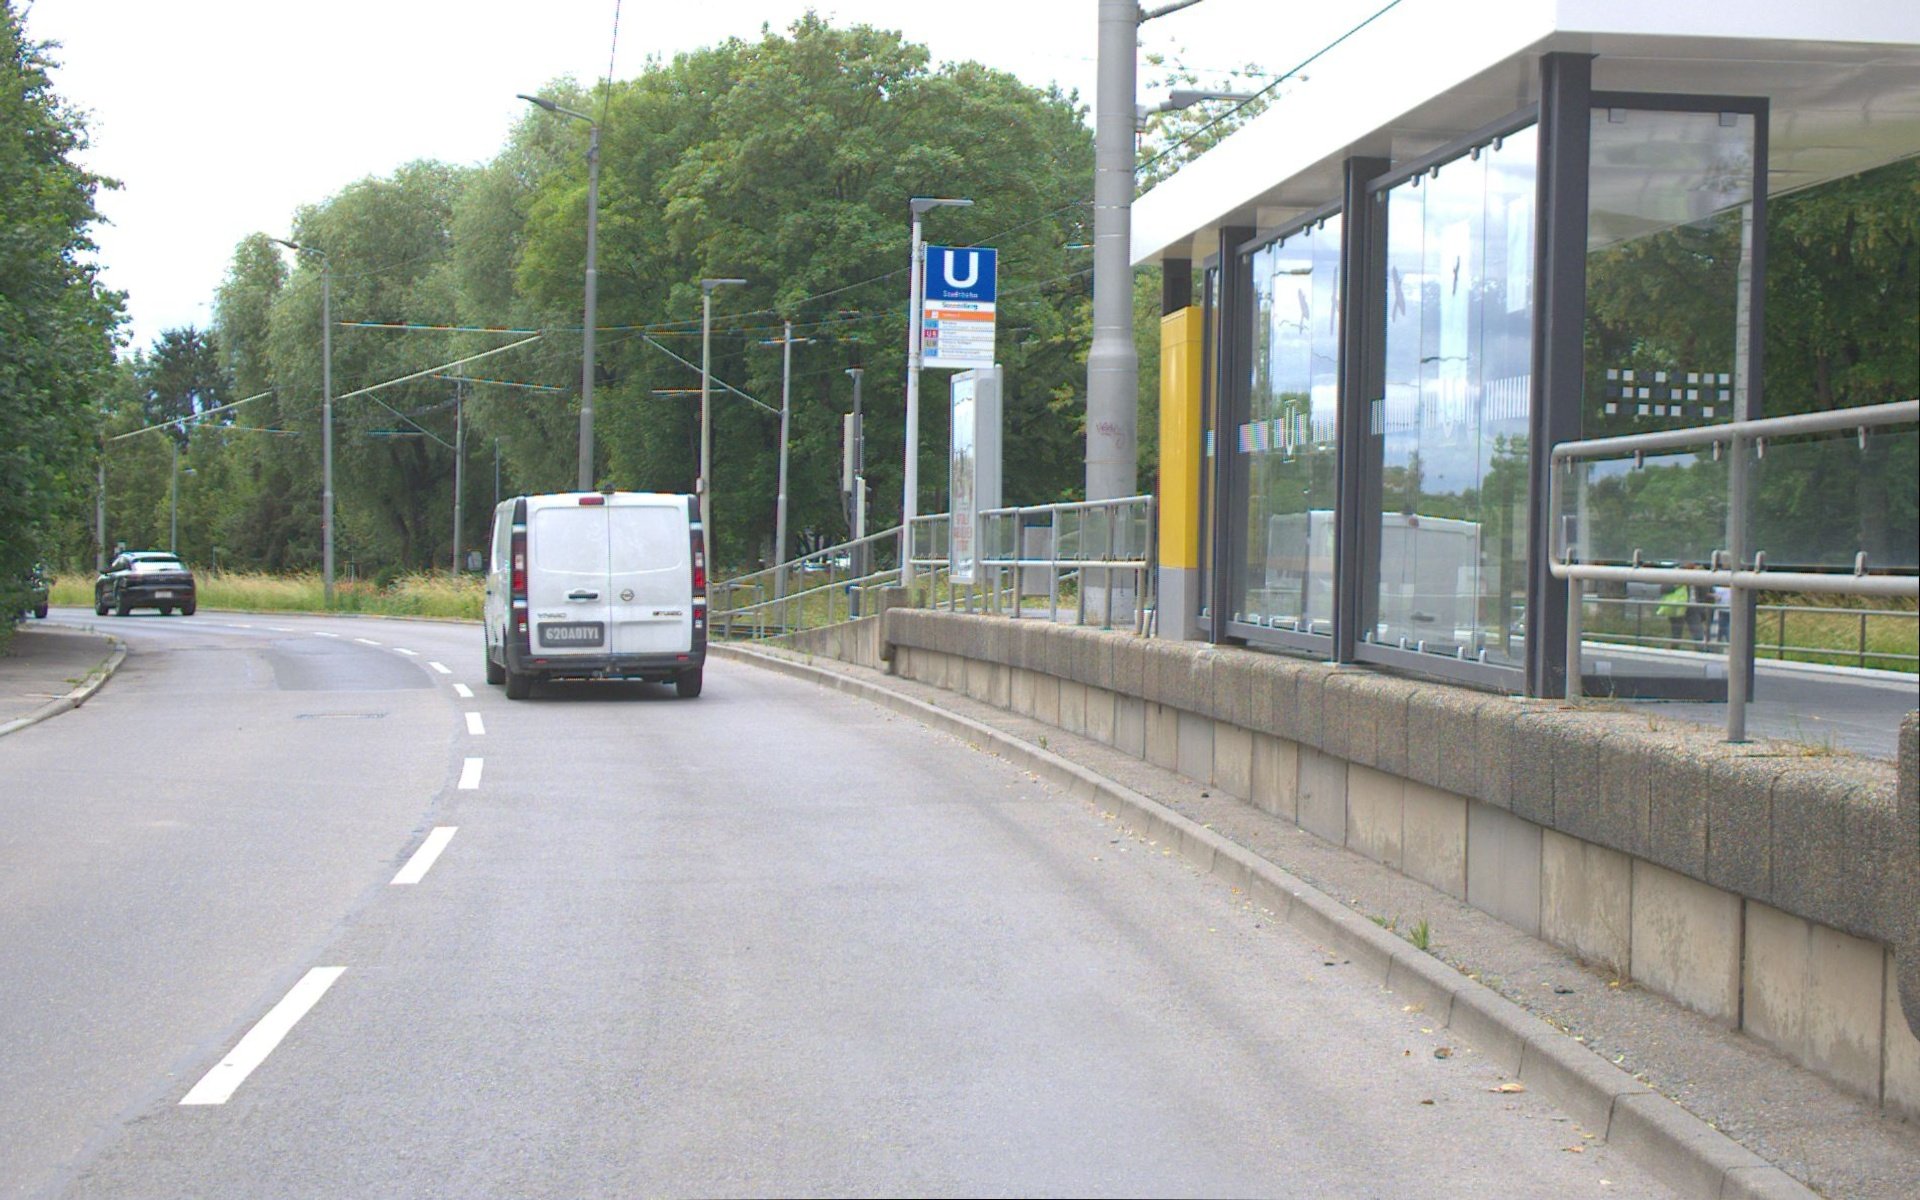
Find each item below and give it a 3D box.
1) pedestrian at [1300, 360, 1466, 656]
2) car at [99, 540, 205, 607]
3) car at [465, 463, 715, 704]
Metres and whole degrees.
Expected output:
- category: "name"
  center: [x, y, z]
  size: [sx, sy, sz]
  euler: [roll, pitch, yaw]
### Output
- category: "pedestrian"
  center: [2.040, -0.449, 16.662]
  size: [0.638, 1.399, 0.765]
  euler: [0, 2, -5]
- category: "car"
  center: [-20.776, -0.693, 88.269]
  size: [2.354, 1.559, 4.374]
  euler: [2, 1, -17]
- category: "car"
  center: [-3.745, -0.182, 33.970]
  size: [2.116, 2.127, 5.442]
  euler: [2, 1, -9]
